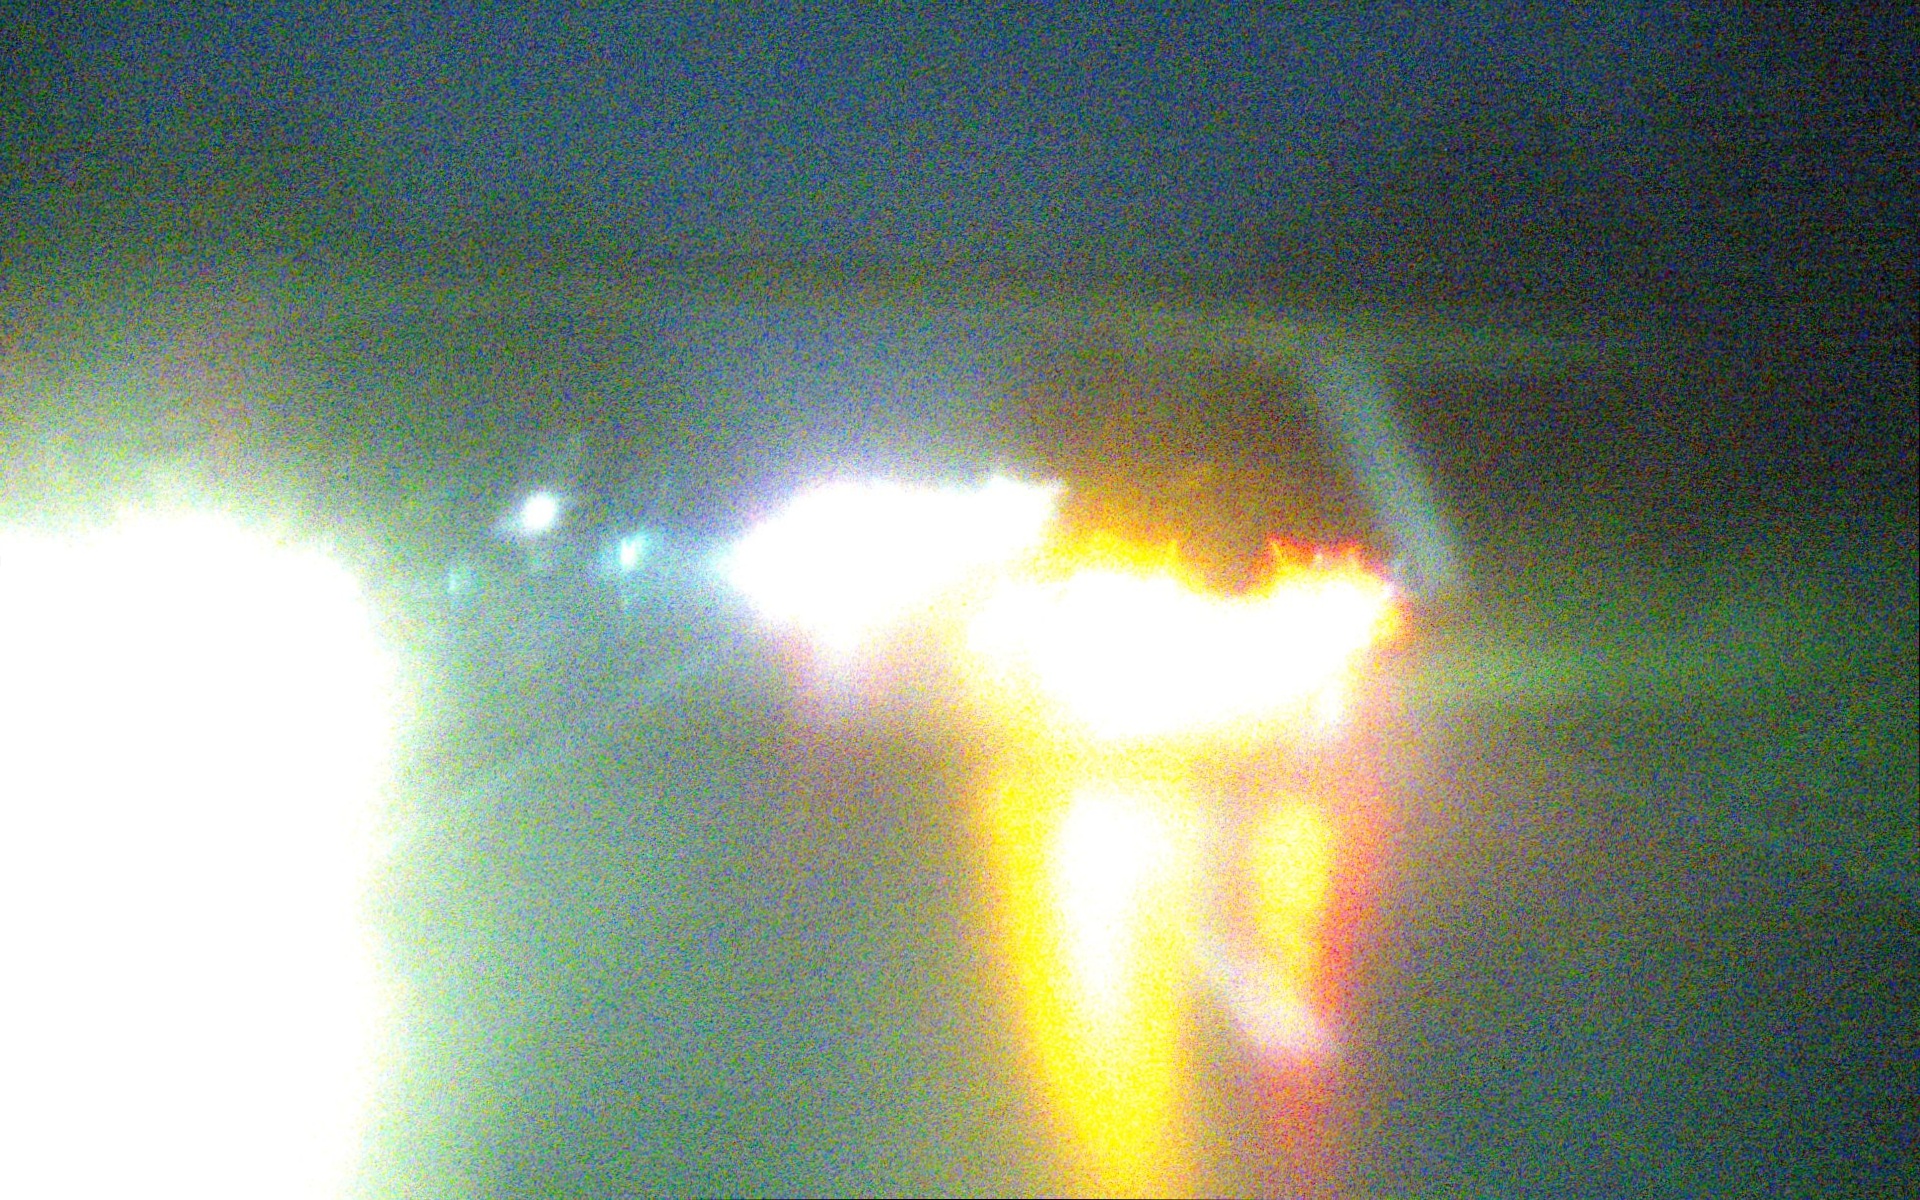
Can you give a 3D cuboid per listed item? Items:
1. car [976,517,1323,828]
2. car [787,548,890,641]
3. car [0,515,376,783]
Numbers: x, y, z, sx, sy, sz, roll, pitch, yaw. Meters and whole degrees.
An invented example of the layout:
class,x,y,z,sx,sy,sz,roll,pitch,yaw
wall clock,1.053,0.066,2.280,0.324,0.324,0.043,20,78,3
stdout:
class,x,y,z,sx,sy,sz,roll,pitch,yaw
car,1.250,0.442,24.465,2.093,2.007,4.000,1,1,-2
car,-2.186,-0.131,62.224,1.808,1.616,4.000,0,1,-2
car,-5.190,0.249,22.677,1.993,1.570,4.662,1,1,-2
